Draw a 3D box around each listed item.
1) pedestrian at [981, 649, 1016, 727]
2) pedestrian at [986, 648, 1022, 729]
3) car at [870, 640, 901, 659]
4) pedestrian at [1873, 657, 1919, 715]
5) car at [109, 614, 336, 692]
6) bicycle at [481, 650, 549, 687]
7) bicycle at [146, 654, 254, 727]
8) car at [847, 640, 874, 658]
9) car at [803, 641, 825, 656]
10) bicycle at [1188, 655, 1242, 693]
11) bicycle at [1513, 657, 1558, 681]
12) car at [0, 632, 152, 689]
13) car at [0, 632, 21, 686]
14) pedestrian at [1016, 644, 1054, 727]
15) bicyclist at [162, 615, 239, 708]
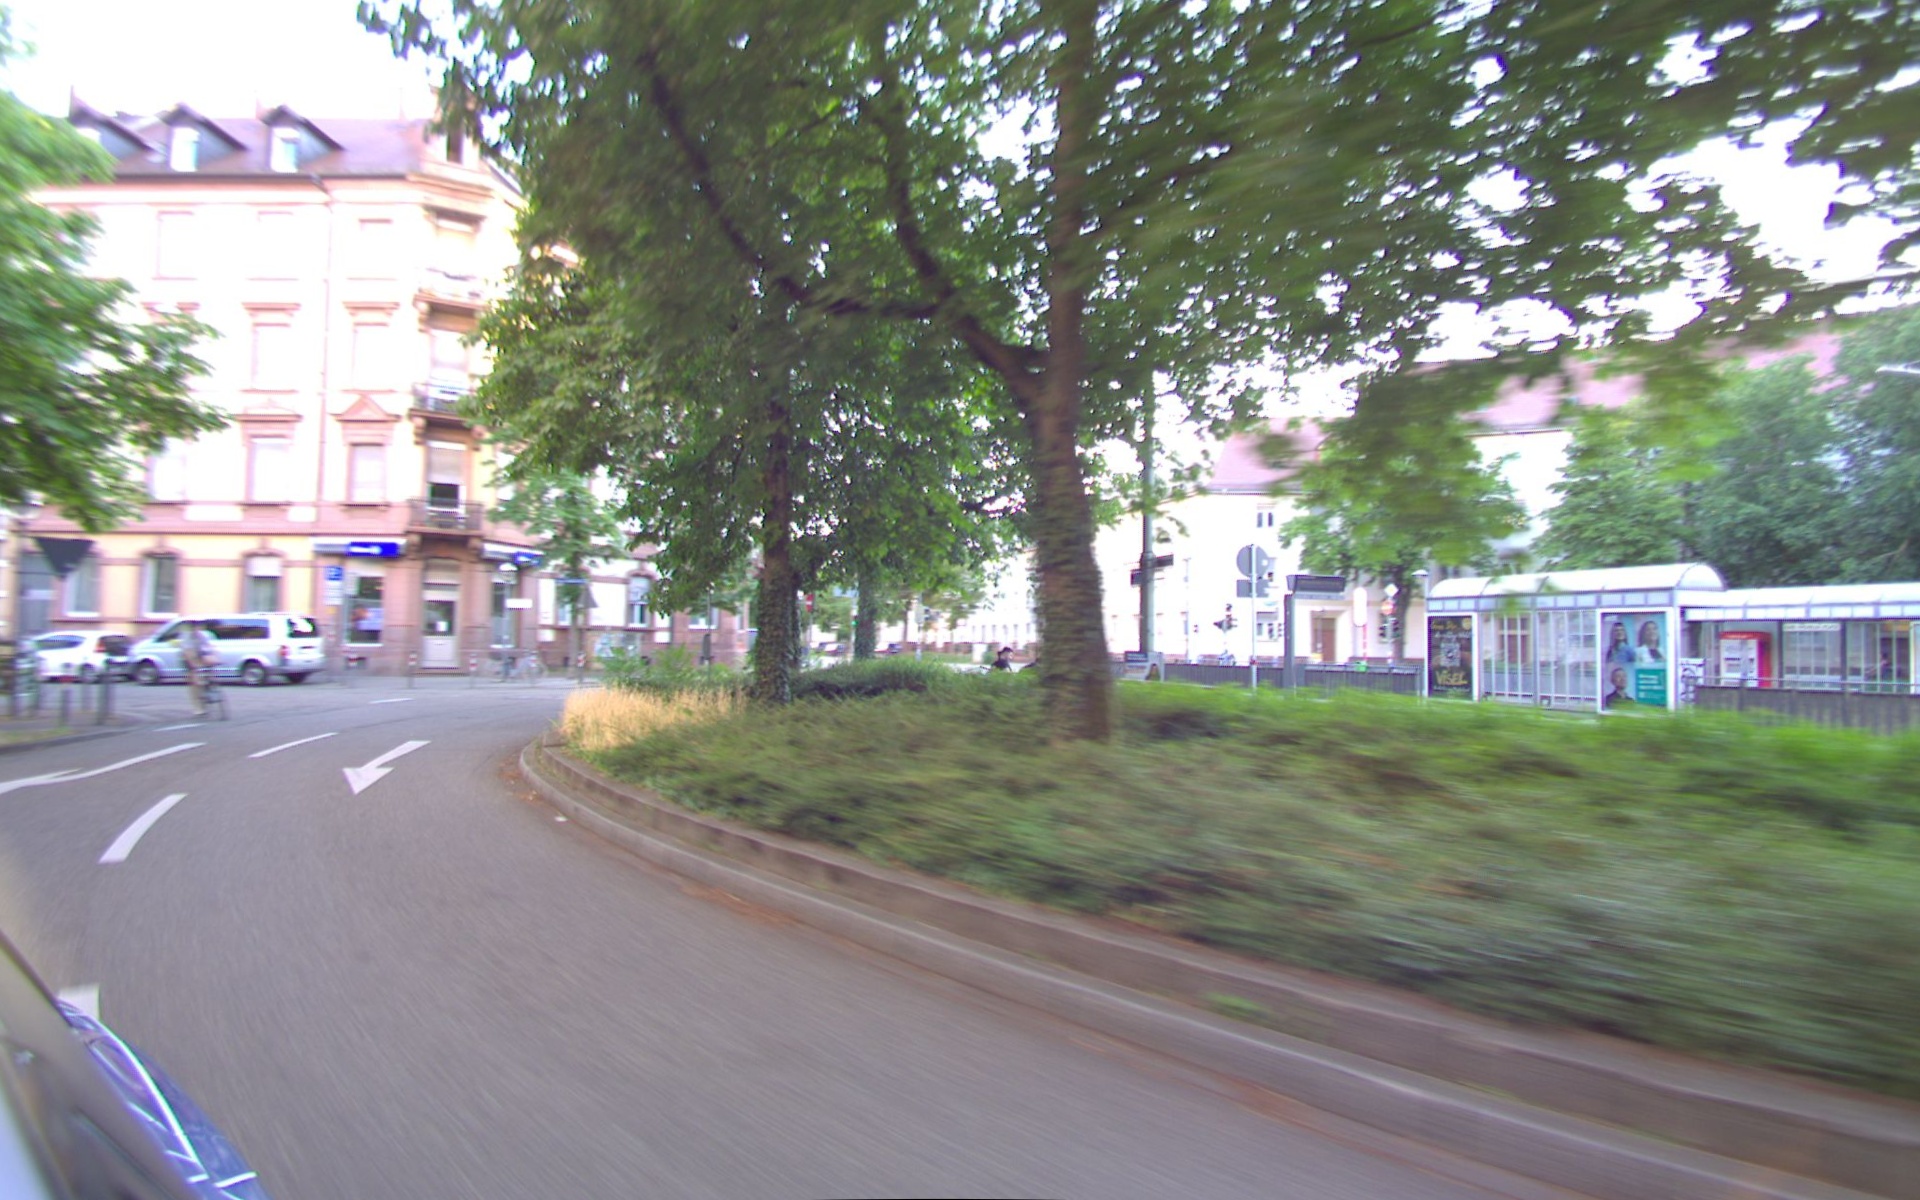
[{"bbox_3d":[0.725,1.646,19.140,0.646,1.442,0.618,0,-3,2],"label":"pedestrian"},{"bbox_3d":[0.791,1.599,18.489,0.646,1.442,0.618,0,-3,2],"label":"pedestrian"},{"bbox_3d":[-7.306,4.821,98.785,1.877,1.864,4.013,2,-3,-21],"label":"car"},{"bbox_3d":[34.735,3.163,37.485,1.054,2.102,1.005,0,-3,24],"label":"pedestrian"},{"bbox_3d":[-20.587,1.442,28.405,4.936,2.072,2.046,0,-1,2],"label":"car"},{"bbox_3d":[-13.424,2.060,30.567,1.768,1.091,0.562,1,-2,-12],"label":"bicycle"},{"bbox_3d":[-12.877,1.495,17.126,2.107,1.160,0.679,-1,-3,30],"label":"bicycle"},{"bbox_3d":[-10.545,5.137,107.100,1.877,1.864,4.013,2,-3,-21],"label":"car"},{"bbox_3d":[-18.327,6.030,126.828,1.877,1.864,4.013,2,-3,-21],"label":"car"},{"bbox_3d":[7.424,2.140,29.536,0.537,1.059,1.861,2,-3,-21],"label":"bicycle"},{"bbox_3d":[29.071,3.473,51.115,1.915,1.160,0.678,-2,-3,35],"label":"bicycle"},{"bbox_3d":[-25.373,1.690,28.699,3.563,1.503,1.689,0,-1,0],"label":"car"},{"bbox_3d":[-29.168,1.673,28.536,3.687,1.503,1.736,0,-1,-3],"label":"car"},{"bbox_3d":[1.327,1.517,18.039,0.646,1.442,0.618,0,-3,2],"label":"pedestrian"},{"bbox_3d":[-12.830,1.025,17.101,0.969,1.524,0.679,-2,-3,30],"label":"bicyclist"}]
